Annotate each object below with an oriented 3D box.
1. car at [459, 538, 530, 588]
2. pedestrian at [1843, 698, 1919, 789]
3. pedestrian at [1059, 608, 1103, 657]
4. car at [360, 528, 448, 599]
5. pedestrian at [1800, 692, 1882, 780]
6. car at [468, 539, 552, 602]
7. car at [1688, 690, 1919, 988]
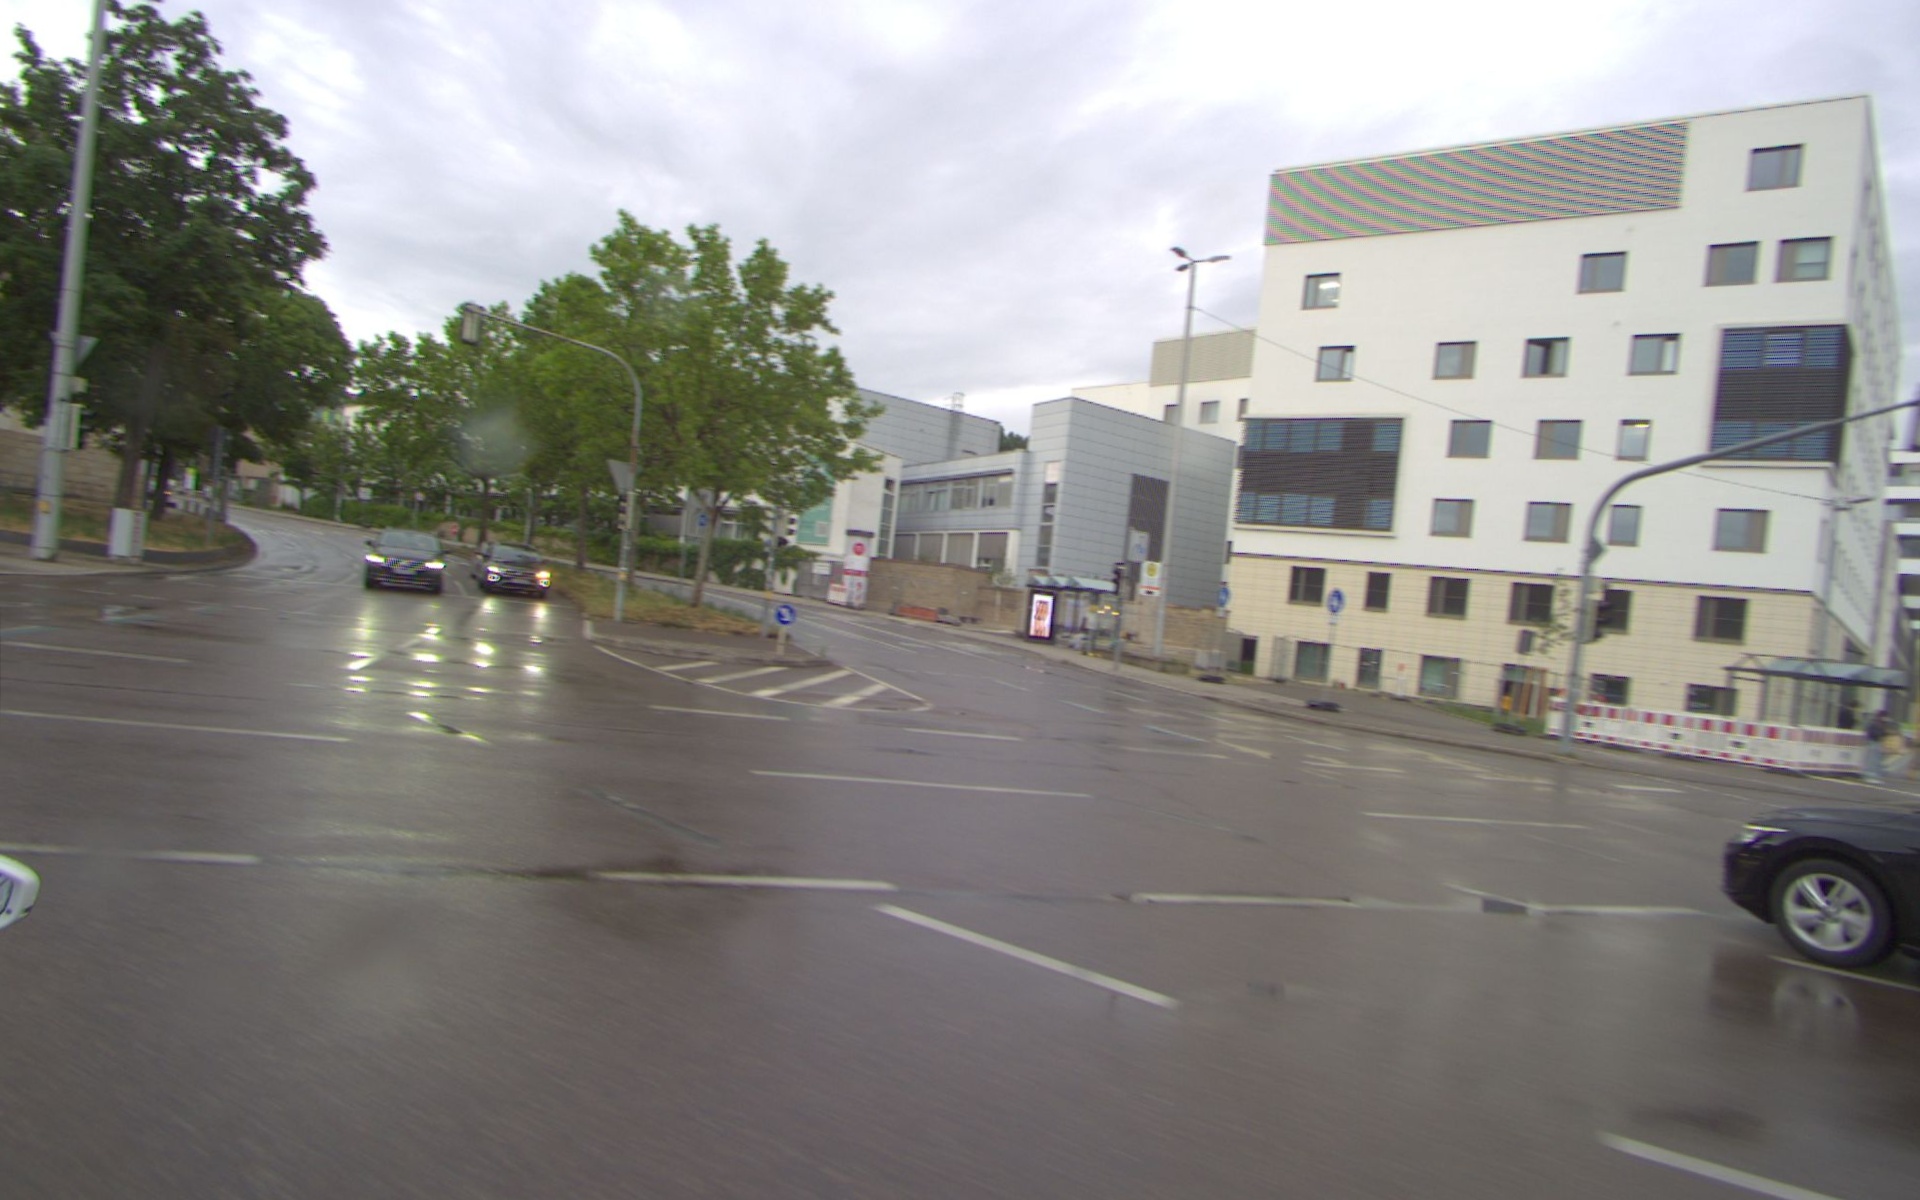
[{"bbox_3d":[-17.076,-1.376,36.809,1.776,1.459,3.966,7,0,-32],"label":"car"},{"bbox_3d":[20.857,3.246,22.769,0.941,1.861,0.820,8,-1,-22],"label":"pedestrian"},{"bbox_3d":[4.741,1.272,39.356,1.241,1.739,1.014,8,-1,-12],"label":"pedestrian"},{"bbox_3d":[-15.152,-1.061,27.608,1.851,1.584,4.245,6,1,-27],"label":"car"},{"bbox_3d":[21.936,3.370,25.068,0.987,1.958,0.954,8,-1,-1],"label":"pedestrian"},{"bbox_3d":[-14.281,-0.976,31.798,1.776,1.604,3.966,7,0,-32],"label":"car"},{"bbox_3d":[6.452,1.543,4.846,1.652,1.484,4.490,7,0,-20],"label":"car"}]
